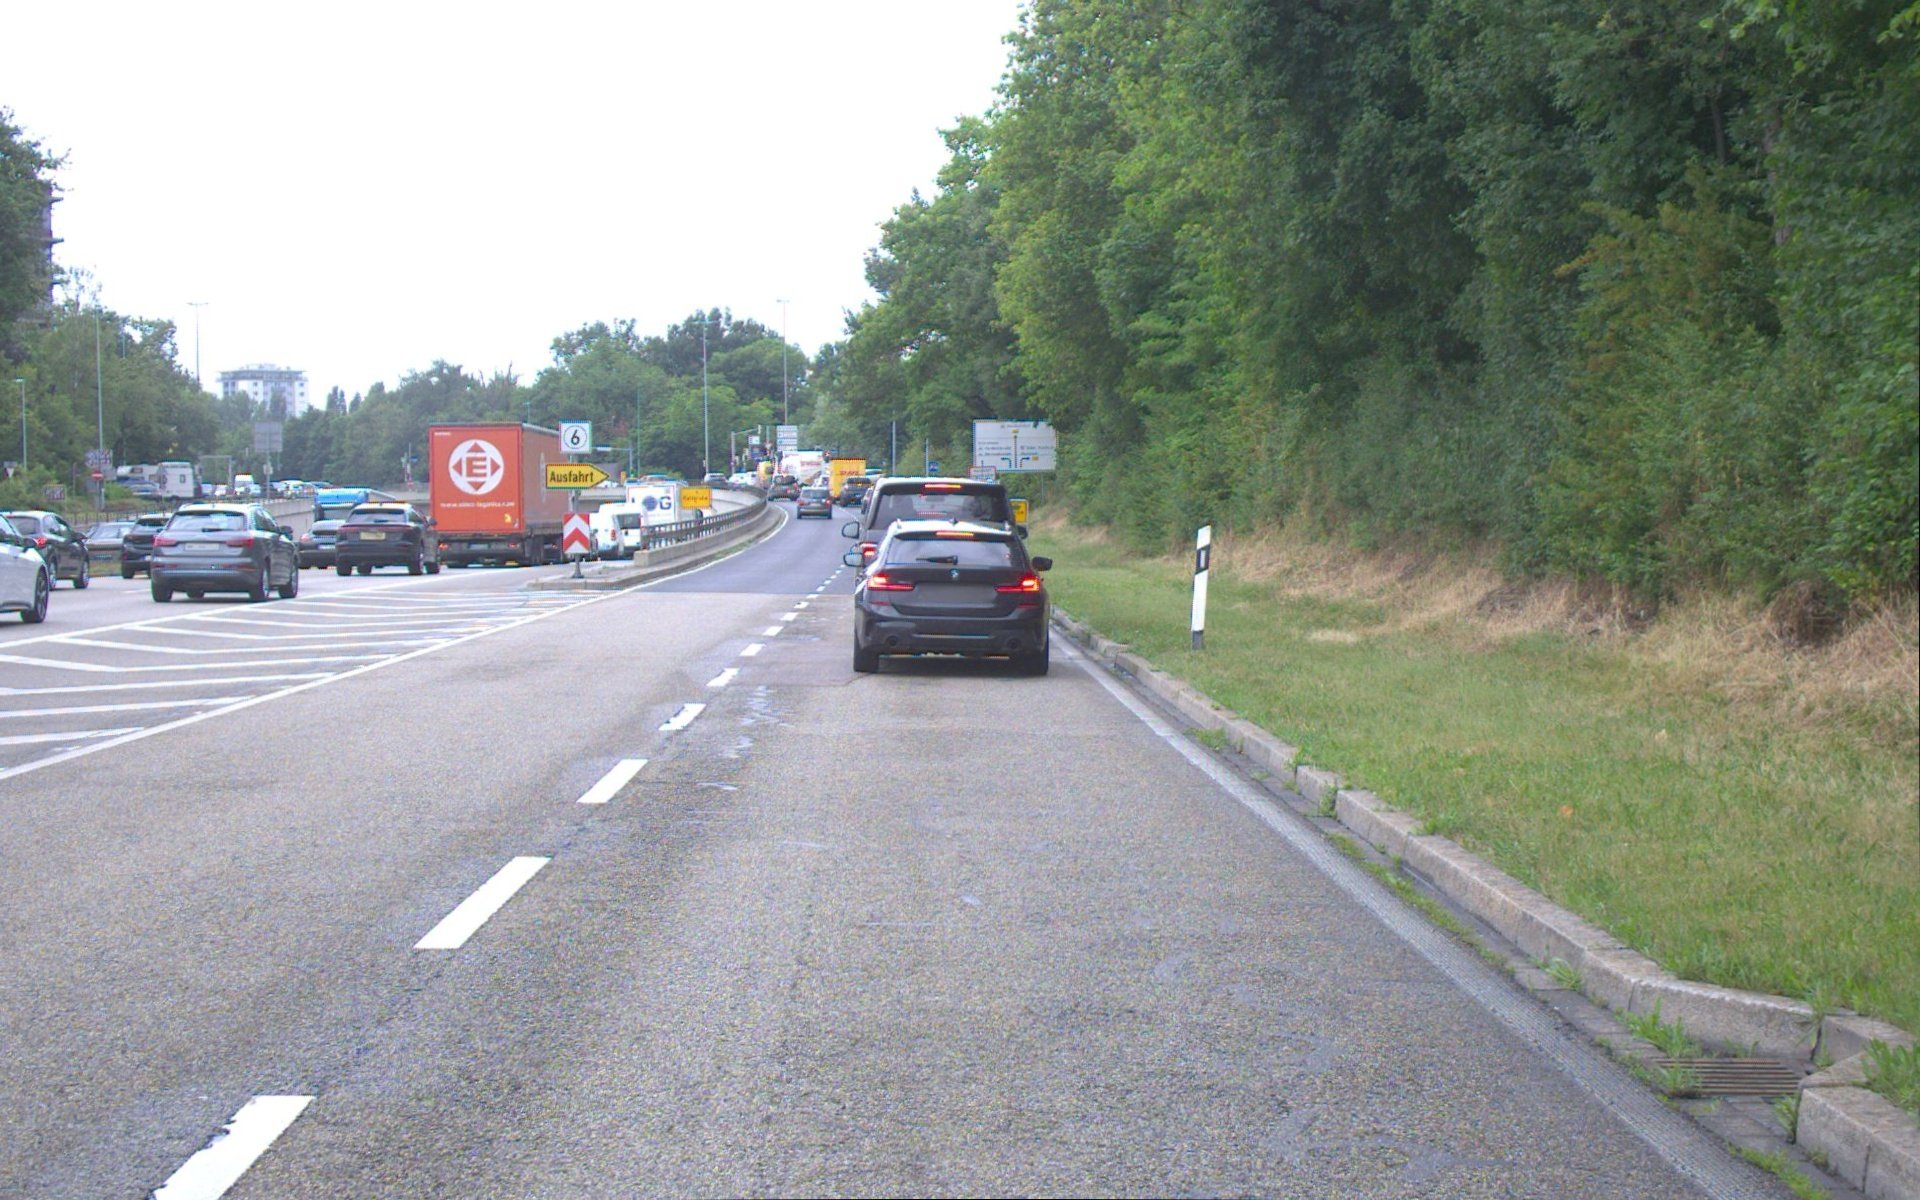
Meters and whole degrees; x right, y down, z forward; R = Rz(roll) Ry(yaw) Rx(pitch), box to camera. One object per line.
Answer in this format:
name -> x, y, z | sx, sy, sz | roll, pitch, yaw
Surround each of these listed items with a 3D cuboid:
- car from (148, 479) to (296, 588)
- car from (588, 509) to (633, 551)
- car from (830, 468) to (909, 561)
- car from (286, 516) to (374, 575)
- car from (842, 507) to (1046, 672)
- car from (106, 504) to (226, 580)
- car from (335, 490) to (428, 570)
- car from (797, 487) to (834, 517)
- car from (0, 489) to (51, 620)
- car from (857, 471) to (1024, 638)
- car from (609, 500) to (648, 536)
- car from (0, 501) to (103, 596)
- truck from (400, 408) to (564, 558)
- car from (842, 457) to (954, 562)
car -> -11.998, -1.069, 56.100 | 1.717, 1.678, 4.001 | 1, 1, -3
car -> -13.536, -2.701, 133.254 | 1.556, 1.546, 3.819 | 1, 1, -4
car -> -2.050, -1.918, 76.792 | 1.604, 2.006, 4.001 | 0, 2, -4
car -> -17.985, -1.563, 98.284 | 1.859, 1.612, 4.000 | 1, 1, -2
car -> -0.211, -0.150, 32.957 | 1.825, 1.477, 4.001 | 0, 2, -2
car -> -17.762, -1.291, 77.084 | 1.859, 1.612, 4.000 | 1, 1, -2
car -> -13.704, -1.646, 81.670 | 1.860, 1.809, 4.001 | 1, 1, -5
car -> -7.273, -4.912, 172.679 | 1.825, 1.477, 4.001 | 0, 1, -3
car -> -12.701, -0.584, 42.823 | 1.799, 1.598, 4.258 | 1, 1, -3
car -> -0.231, -0.533, 40.222 | 1.822, 1.815, 4.000 | 1, 1, -1
car -> -14.375, -3.562, 149.015 | 1.556, 1.546, 4.001 | 0, 2, -4
car -> -17.294, -0.962, 64.205 | 1.717, 1.710, 4.001 | 1, 1, -3
truck -> -13.805, -3.365, 100.474 | 3.489, 4.059, 13.594 | -1, 2, -3
car -> -1.251, -1.792, 67.773 | 1.993, 2.006, 4.001 | 0, 2, -4
